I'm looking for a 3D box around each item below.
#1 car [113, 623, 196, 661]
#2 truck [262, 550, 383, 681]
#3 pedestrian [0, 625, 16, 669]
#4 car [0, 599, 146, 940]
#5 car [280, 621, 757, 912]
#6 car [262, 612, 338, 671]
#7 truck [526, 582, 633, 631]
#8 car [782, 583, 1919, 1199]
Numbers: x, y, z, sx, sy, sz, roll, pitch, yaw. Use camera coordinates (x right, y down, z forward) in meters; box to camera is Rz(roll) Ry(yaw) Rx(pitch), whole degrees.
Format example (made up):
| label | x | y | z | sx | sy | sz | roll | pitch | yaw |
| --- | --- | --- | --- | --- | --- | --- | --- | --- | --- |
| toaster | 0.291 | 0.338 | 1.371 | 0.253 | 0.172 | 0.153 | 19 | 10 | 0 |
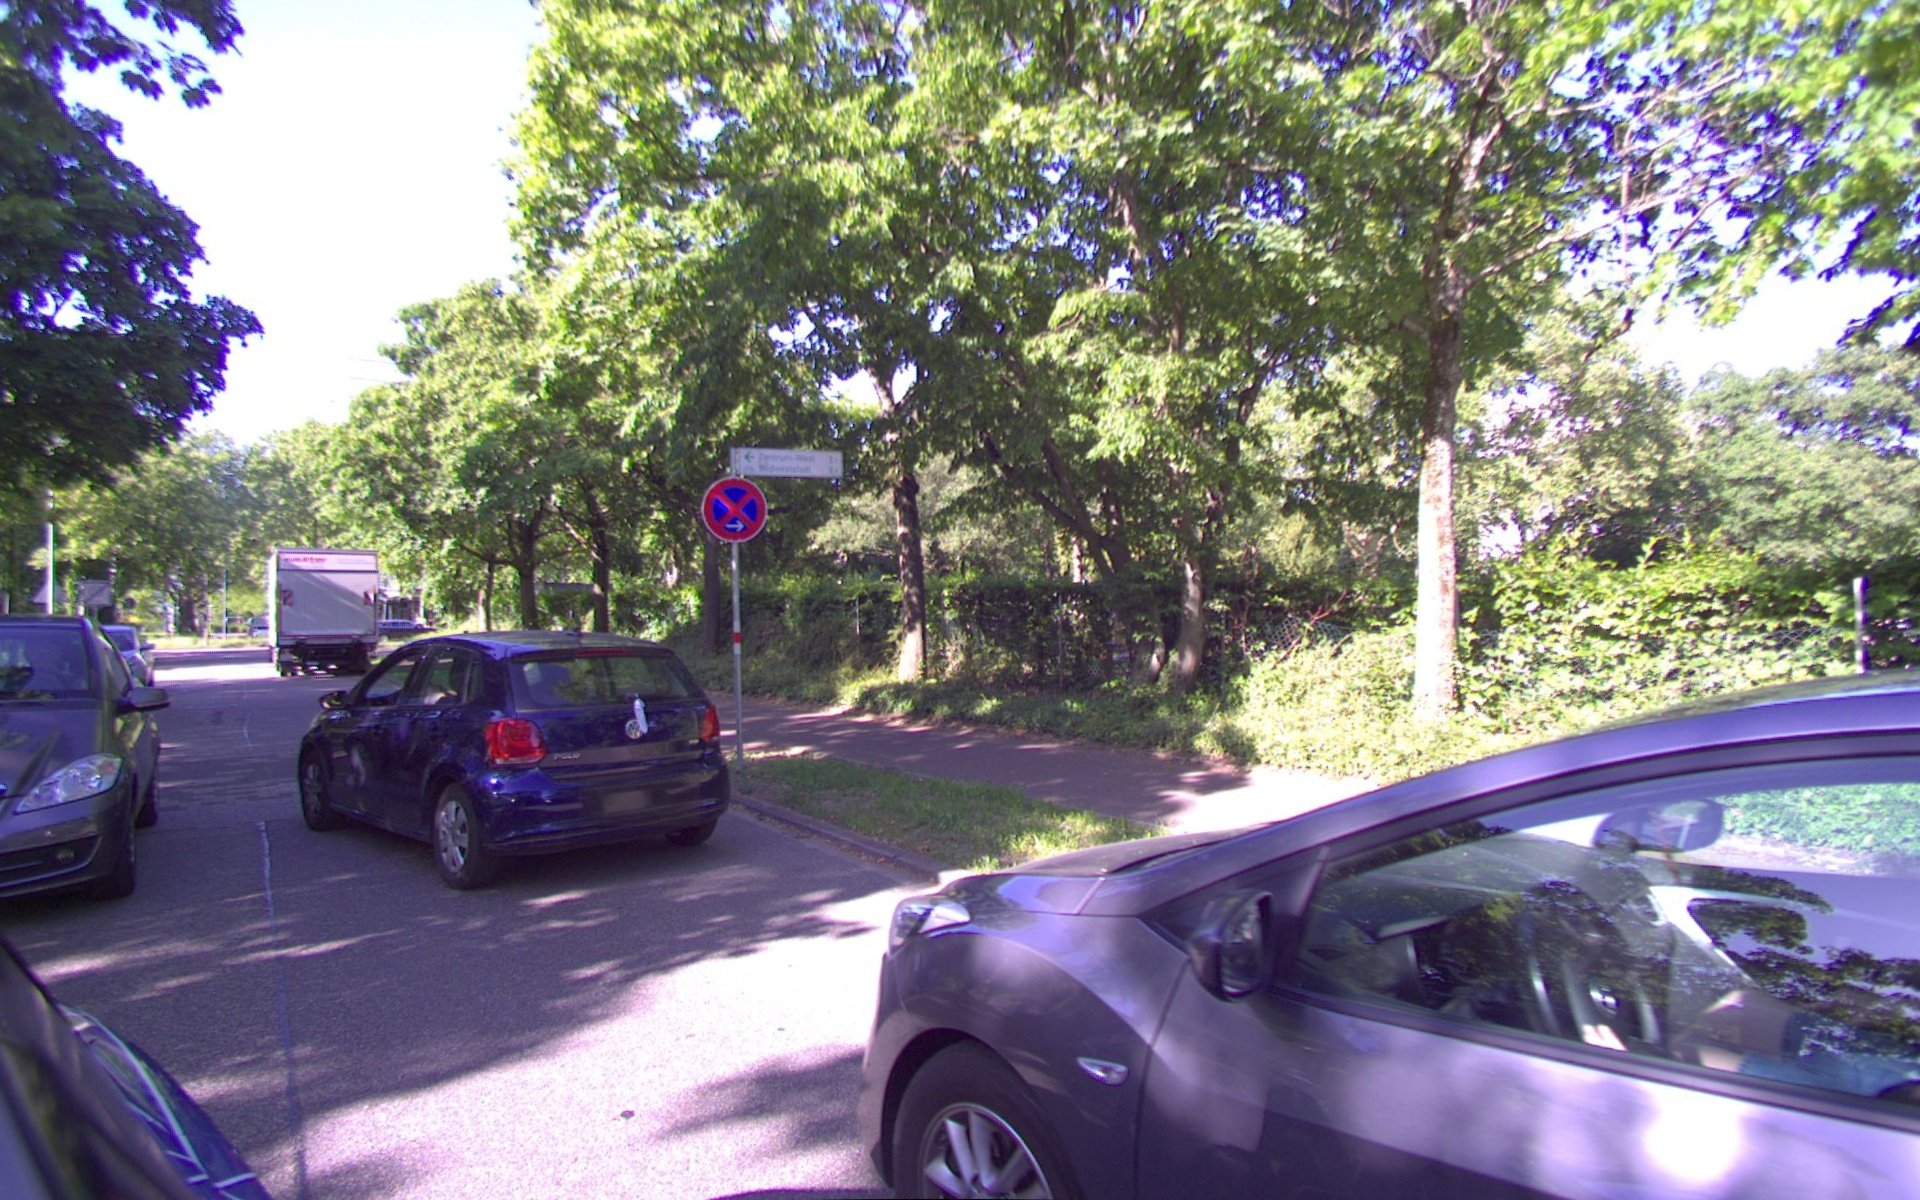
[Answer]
| label | x | y | z | sx | sy | sz | roll | pitch | yaw |
| --- | --- | --- | --- | --- | --- | --- | --- | --- | --- |
| car | -47.432 | 2.464 | 59.618 | 3.969 | 2.029 | 1.987 | -2 | 0 | 20 |
| truck | -20.595 | 0.527 | 32.437 | 2.698 | 3.669 | 8.119 | -1 | -1 | -36 |
| pedestrian | -40.961 | 1.998 | 43.270 | 0.780 | 1.846 | 0.673 | -1 | -1 | -36 |
| car | -6.057 | 0.849 | 6.096 | 1.707 | 1.599 | 4.008 | -1 | -1 | -38 |
| car | -3.125 | 0.882 | 6.838 | 3.651 | 1.437 | 1.584 | -2 | -3 | 42 |
| car | -26.399 | 1.614 | 40.368 | 2.092 | 2.112 | 6.598 | -1 | -1 | -37 |
| truck | -16.688 | 0.338 | 44.431 | 3.935 | 2.029 | 2.208 | 1 | -2 | -38 |
| car | 1.511 | 0.736 | 1.434 | 1.732 | 1.465 | 4.252 | 2 | -2 | -37 |
